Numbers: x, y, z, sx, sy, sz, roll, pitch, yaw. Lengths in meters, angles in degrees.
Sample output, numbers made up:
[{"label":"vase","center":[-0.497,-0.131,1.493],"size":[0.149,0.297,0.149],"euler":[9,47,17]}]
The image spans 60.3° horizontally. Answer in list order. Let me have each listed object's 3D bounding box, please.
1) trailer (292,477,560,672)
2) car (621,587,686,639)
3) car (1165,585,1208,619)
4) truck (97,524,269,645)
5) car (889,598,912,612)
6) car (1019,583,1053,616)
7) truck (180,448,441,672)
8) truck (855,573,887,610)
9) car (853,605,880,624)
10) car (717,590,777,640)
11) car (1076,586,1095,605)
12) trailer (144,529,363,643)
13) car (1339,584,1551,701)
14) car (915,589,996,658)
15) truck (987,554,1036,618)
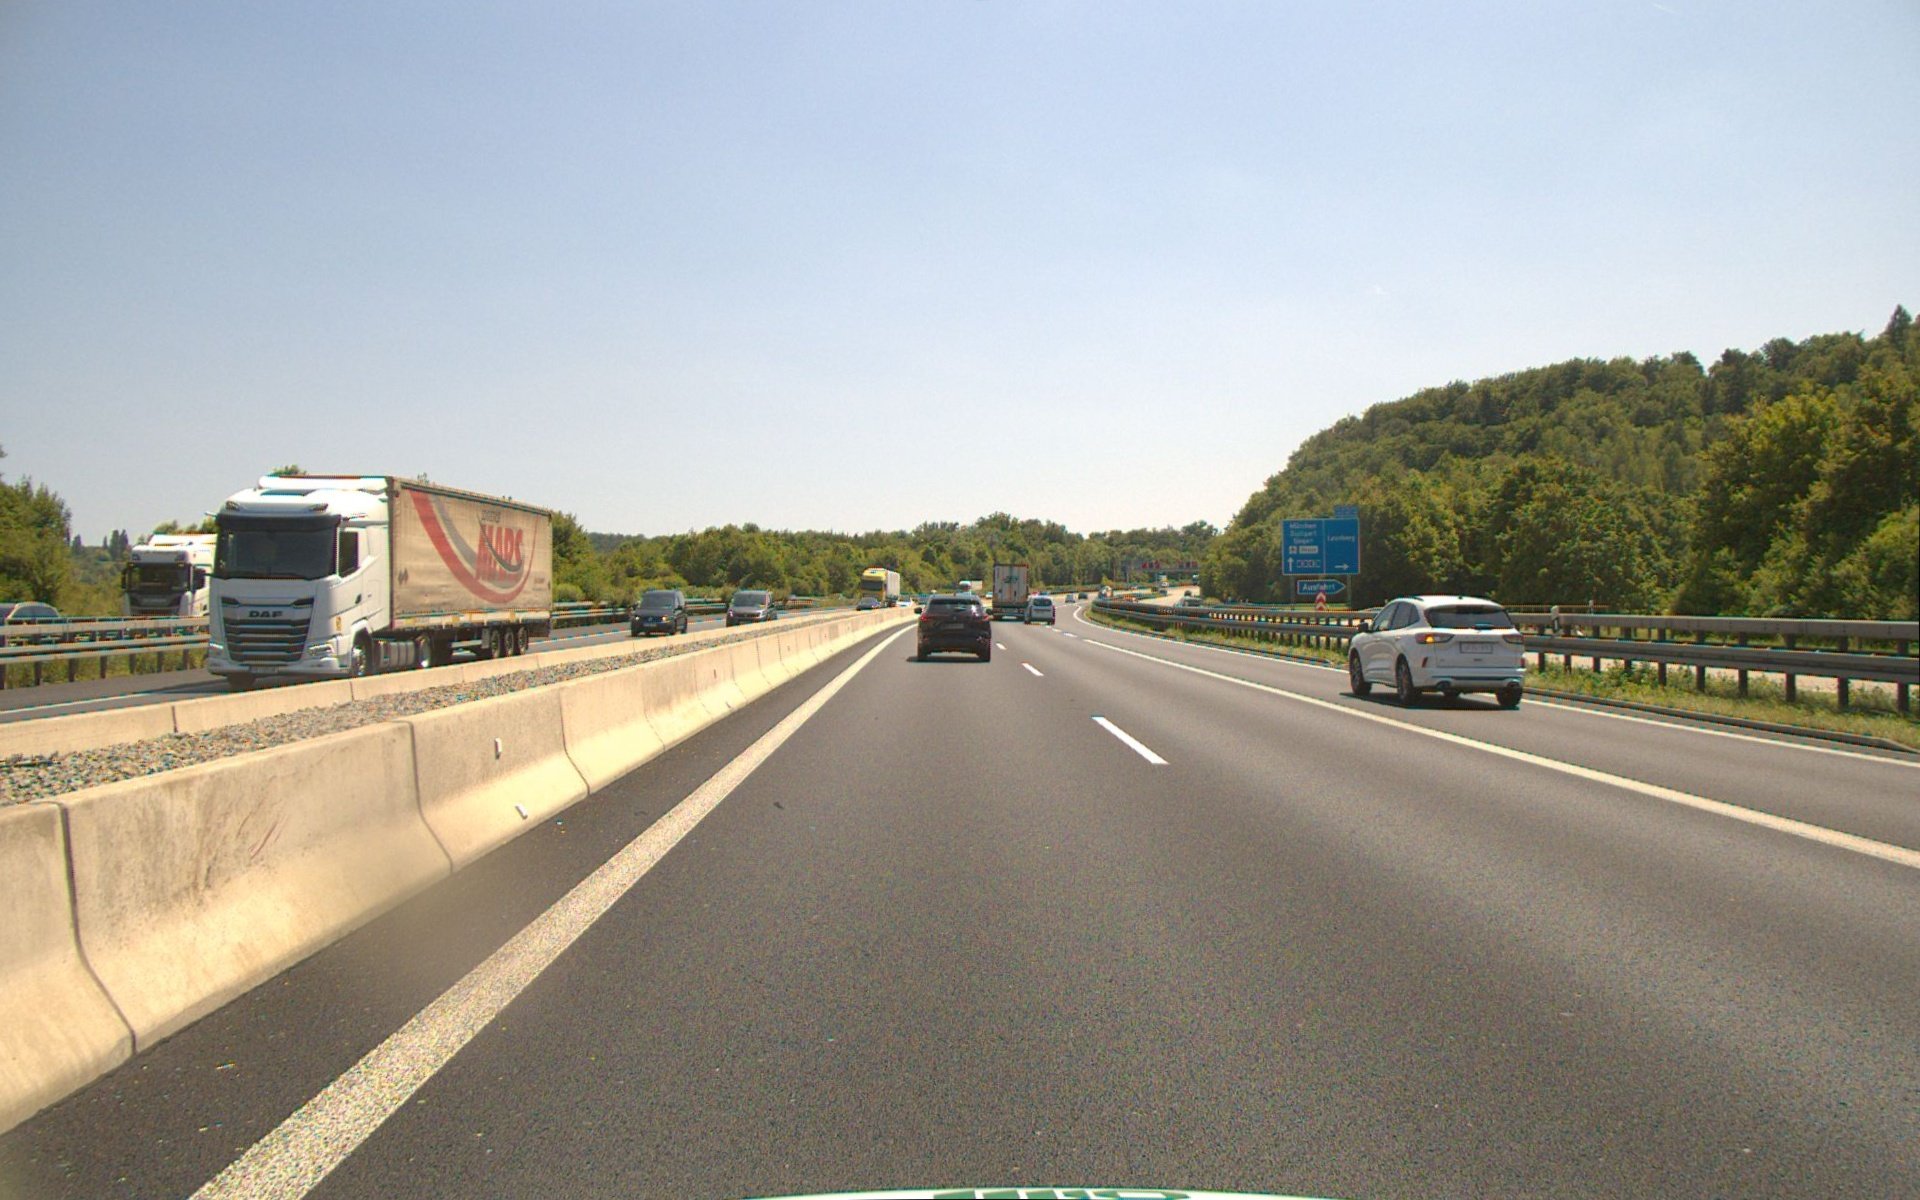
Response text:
[{"label":"trailer","center":[-12.829,-0.522,41.268],"size":[2.850,4.116,12.061],"euler":[1,0,-1]},{"label":"car","center":[-12.415,0.518,67.236],"size":[1.953,2.049,4.482],"euler":[1,0,-3]},{"label":"car","center":[14.223,0.115,103.856],"size":[1.954,2.049,3.998],"euler":[-1,0,-3]},{"label":"truck","center":[-28.247,-0.519,60.483],"size":[3.154,4.116,6.638],"euler":[1,0,-1]},{"label":"car","center":[-5.988,0.461,167.733],"size":[1.952,1.398,4.664],"euler":[0,0,3]},{"label":"car","center":[4.969,-0.026,108.702],"size":[1.953,2.049,4.000],"euler":[-2,0,0]},{"label":"truck","center":[-12.721,-0.717,32.990],"size":[2.869,4.042,5.897],"euler":[1,0,-1]},{"label":"truck","center":[-9.354,-0.917,174.216],"size":[2.691,3.820,4.869],"euler":[1,0,5]},{"label":"car","center":[-7.816,1.213,138.268],"size":[1.692,1.563,4.615],"euler":[1,0,3]},{"label":"car","center":[-9.078,0.623,70.838],"size":[2.009,2.049,4.953],"euler":[1,0,-1]},{"label":"car","center":[13.936,-0.482,183.866],"size":[1.952,2.049,4.002],"euler":[1,0,4]},{"label":"trailer","center":[-28.322,-0.496,67.361],"size":[3.154,4.116,13.534],"euler":[1,0,-1]},{"label":"car","center":[7.651,0.639,26.559],"size":[1.953,1.691,4.466],"euler":[1,0,-2]},{"label":"car","center":[-0.161,0.552,40.911],"size":[1.744,1.605,3.997],"euler":[1,0,-4]},{"label":"truck","center":[3.946,-0.969,123.488],"size":[2.968,4.496,12.025],"euler":[1,0,5]}]
